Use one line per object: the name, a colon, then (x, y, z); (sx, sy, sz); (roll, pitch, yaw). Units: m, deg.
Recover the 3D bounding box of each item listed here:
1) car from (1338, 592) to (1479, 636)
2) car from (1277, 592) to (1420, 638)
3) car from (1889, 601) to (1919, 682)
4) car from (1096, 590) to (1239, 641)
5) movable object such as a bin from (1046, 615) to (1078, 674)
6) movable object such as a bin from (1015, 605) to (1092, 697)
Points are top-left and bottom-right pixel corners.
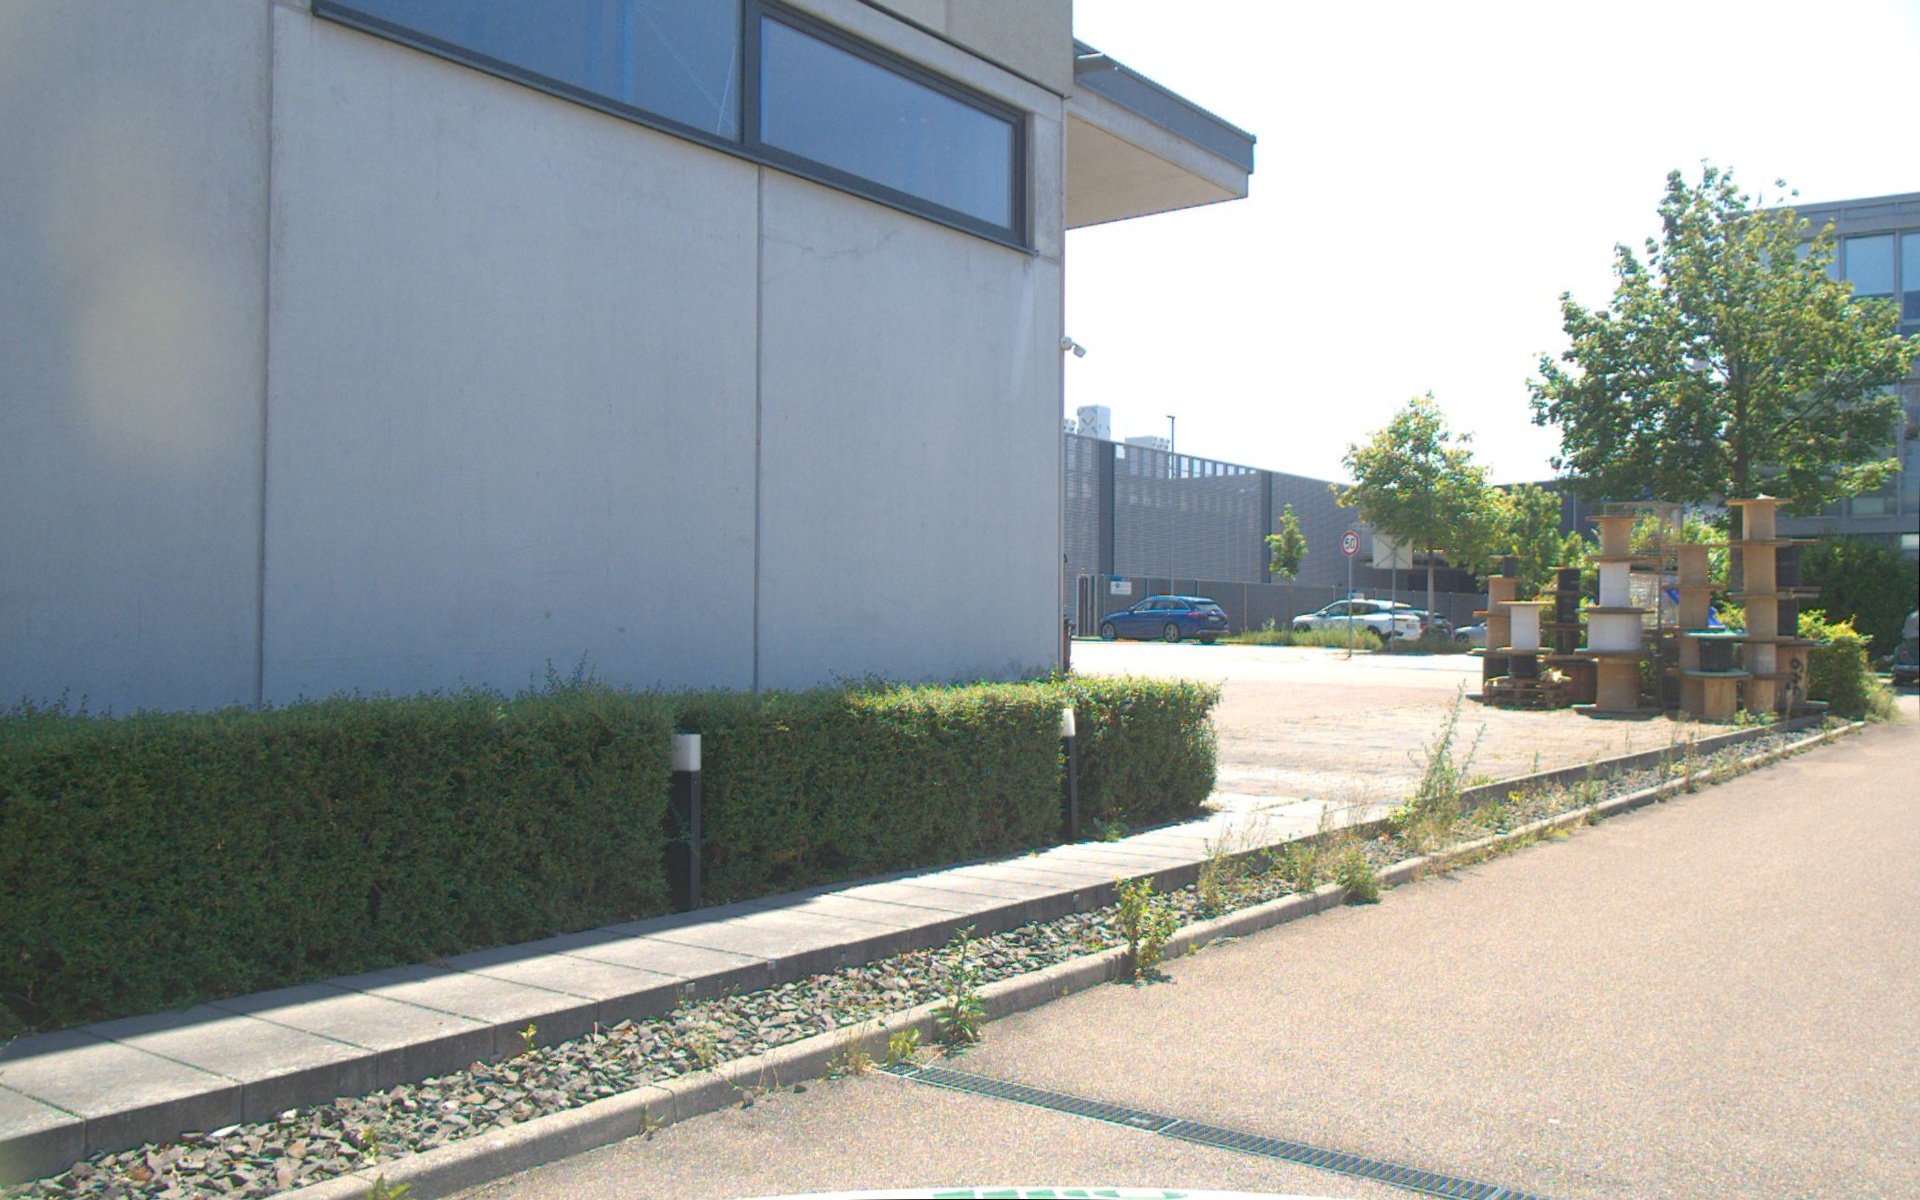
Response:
car: (16.383, 0.484, 60.676); (1.980, 1.517, 4.787); (0, 1, -39)
car: (13.820, 0.494, 59.036); (1.980, 1.517, 4.787); (0, 1, -39)
car: (19.225, 0.783, 32.347); (1.515, 1.474, 3.641); (1, 1, 35)
car: (6.551, 0.461, 52.580); (1.980, 1.517, 4.452); (0, 1, -39)
movable object such as a bin: (1.854, 0.808, 30.020); (0.564, 1.054, 0.426); (0, -1, 4)
movable object such as a bin: (1.418, 0.765, 25.151); (0.799, 1.368, 0.879); (0, -1, 43)
